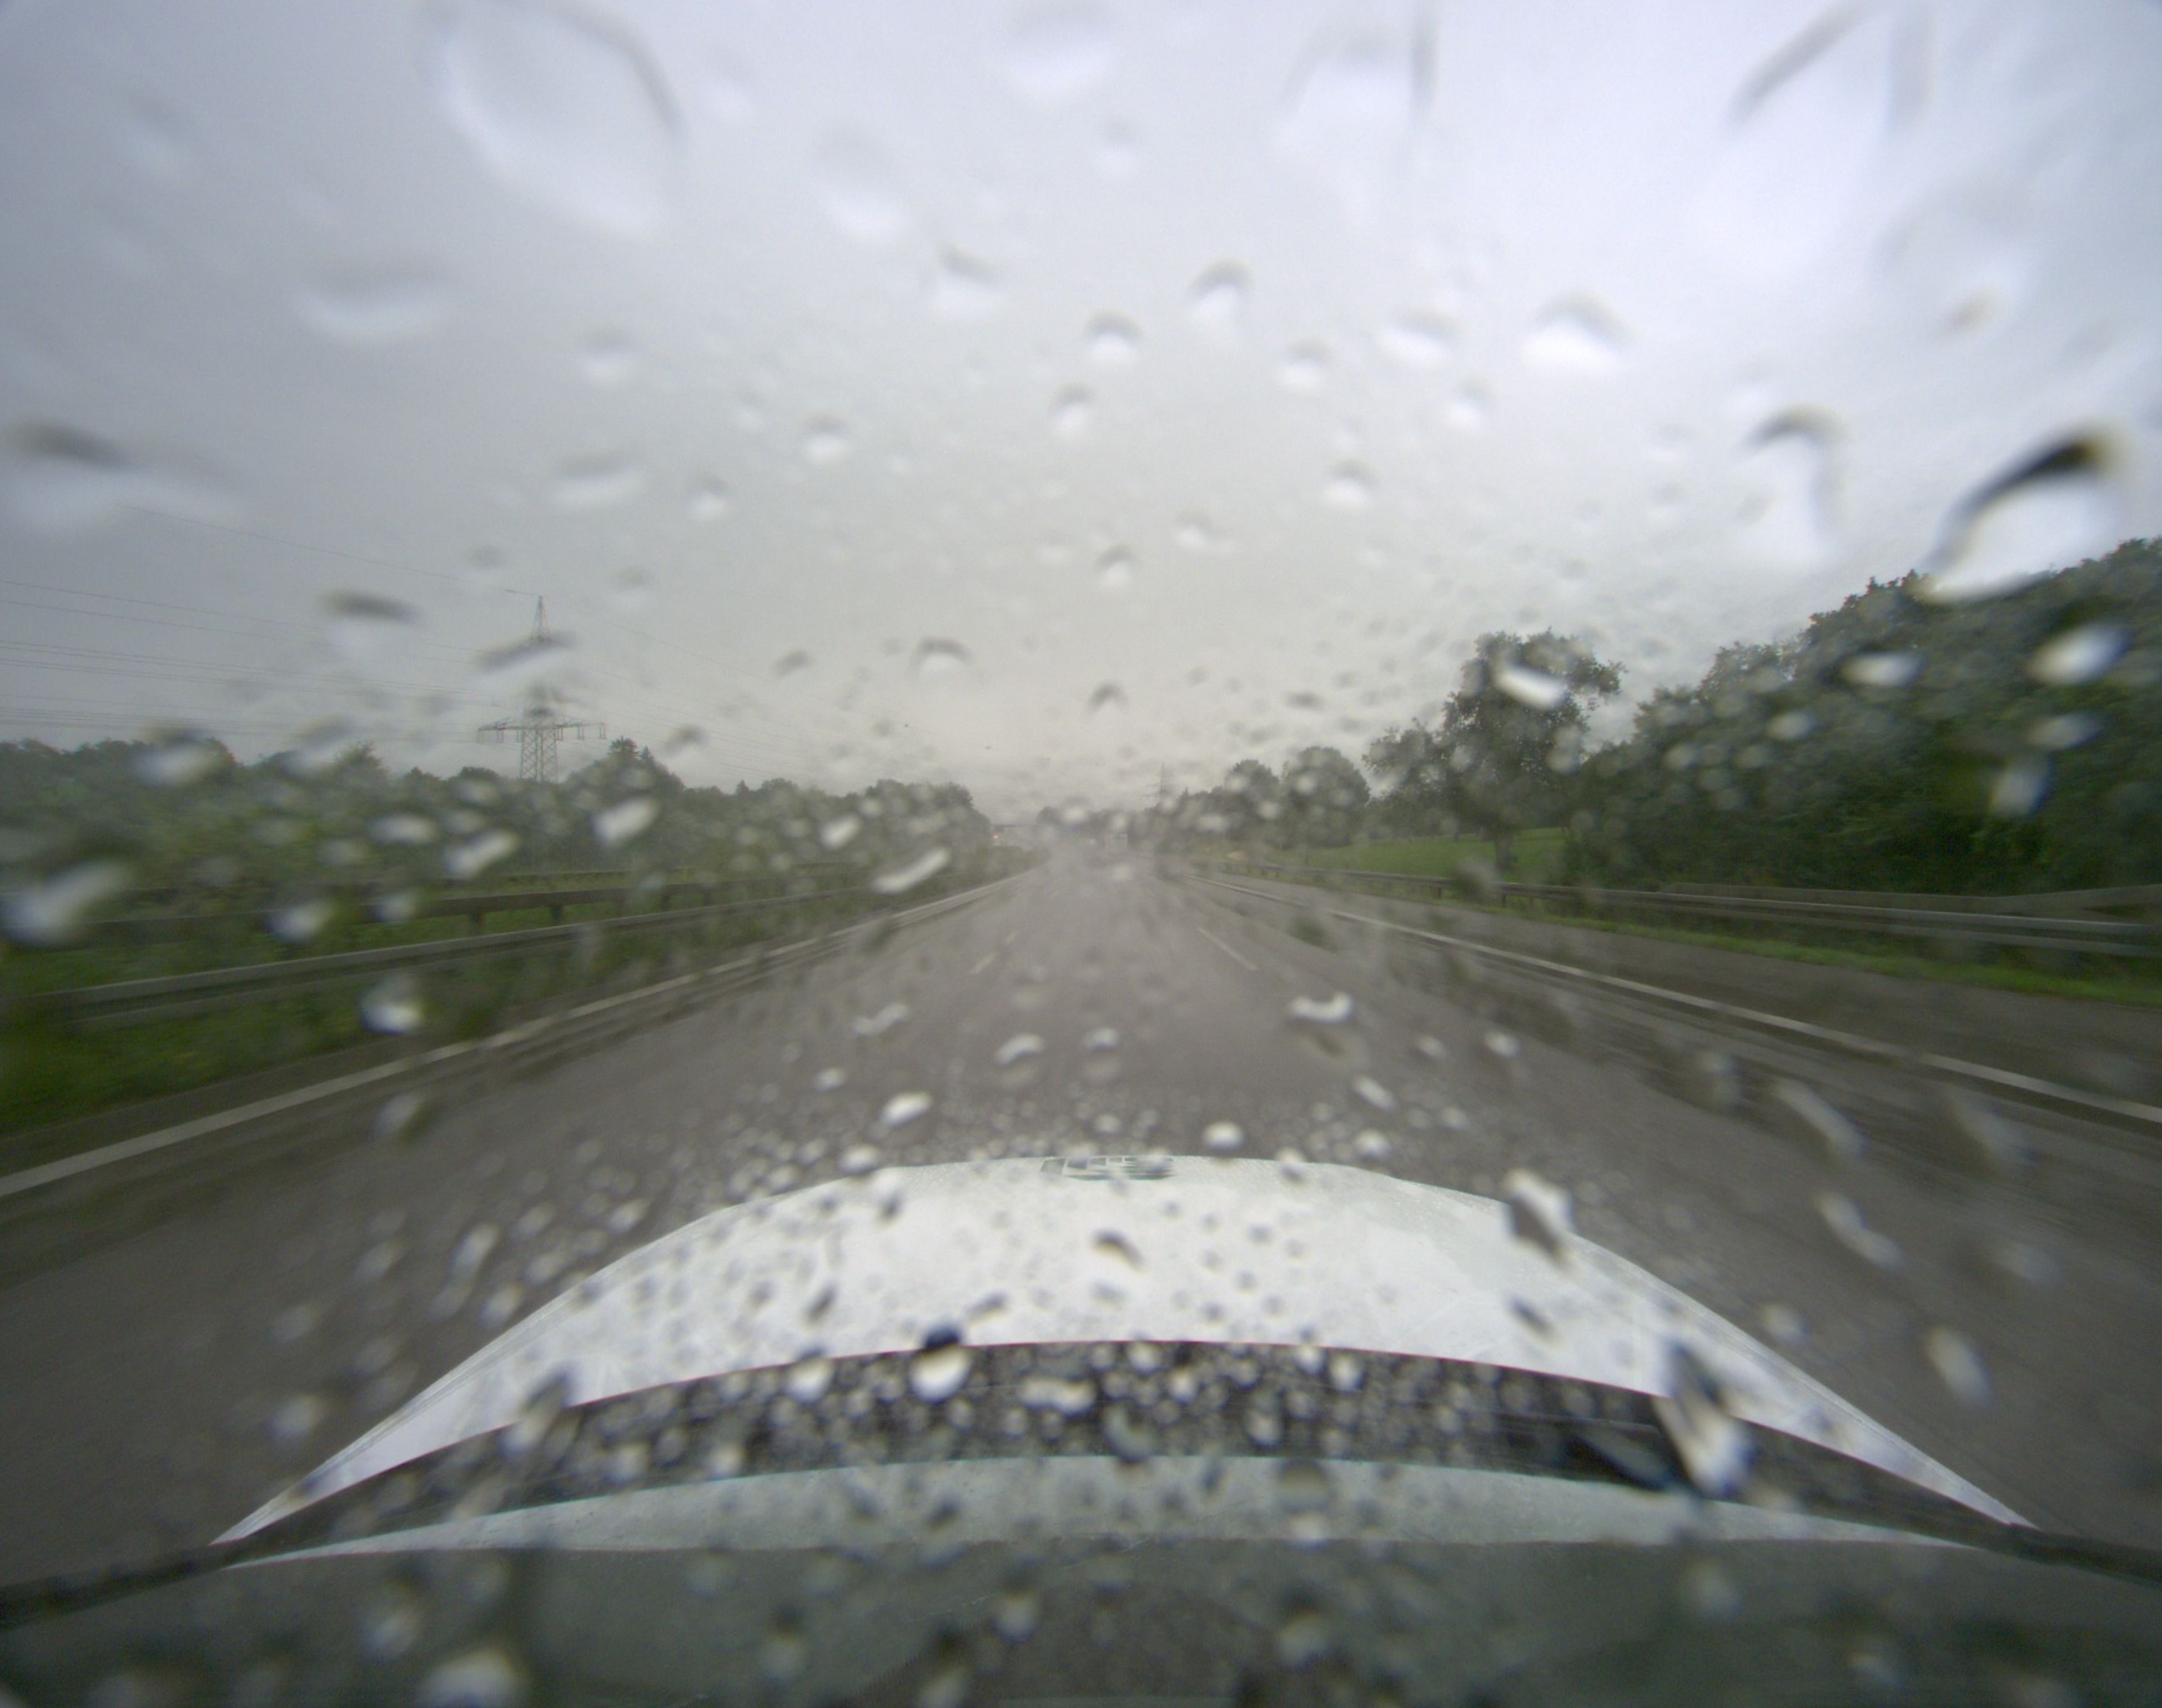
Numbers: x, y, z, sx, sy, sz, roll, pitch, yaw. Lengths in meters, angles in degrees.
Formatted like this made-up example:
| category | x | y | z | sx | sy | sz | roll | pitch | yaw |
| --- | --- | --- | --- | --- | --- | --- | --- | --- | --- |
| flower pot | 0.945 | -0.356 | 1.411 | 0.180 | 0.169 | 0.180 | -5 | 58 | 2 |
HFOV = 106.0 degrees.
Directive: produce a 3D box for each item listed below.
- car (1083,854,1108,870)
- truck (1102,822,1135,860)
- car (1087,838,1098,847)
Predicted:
| category | x | y | z | sx | sy | sz | roll | pitch | yaw |
| --- | --- | --- | --- | --- | --- | --- | --- | --- | --- |
| car | 1.254 | 0.659 | 67.260 | 1.740 | 1.212 | 4.005 | 2 | 1 | 5 |
| truck | 5.562 | -1.849 | 117.303 | 4.238 | 4.971 | 17.360 | -1 | 1 | 4 |
| car | 2.828 | -2.961 | 204.662 | 2.386 | 2.272 | 5.000 | 1 | 1 | -2 |
